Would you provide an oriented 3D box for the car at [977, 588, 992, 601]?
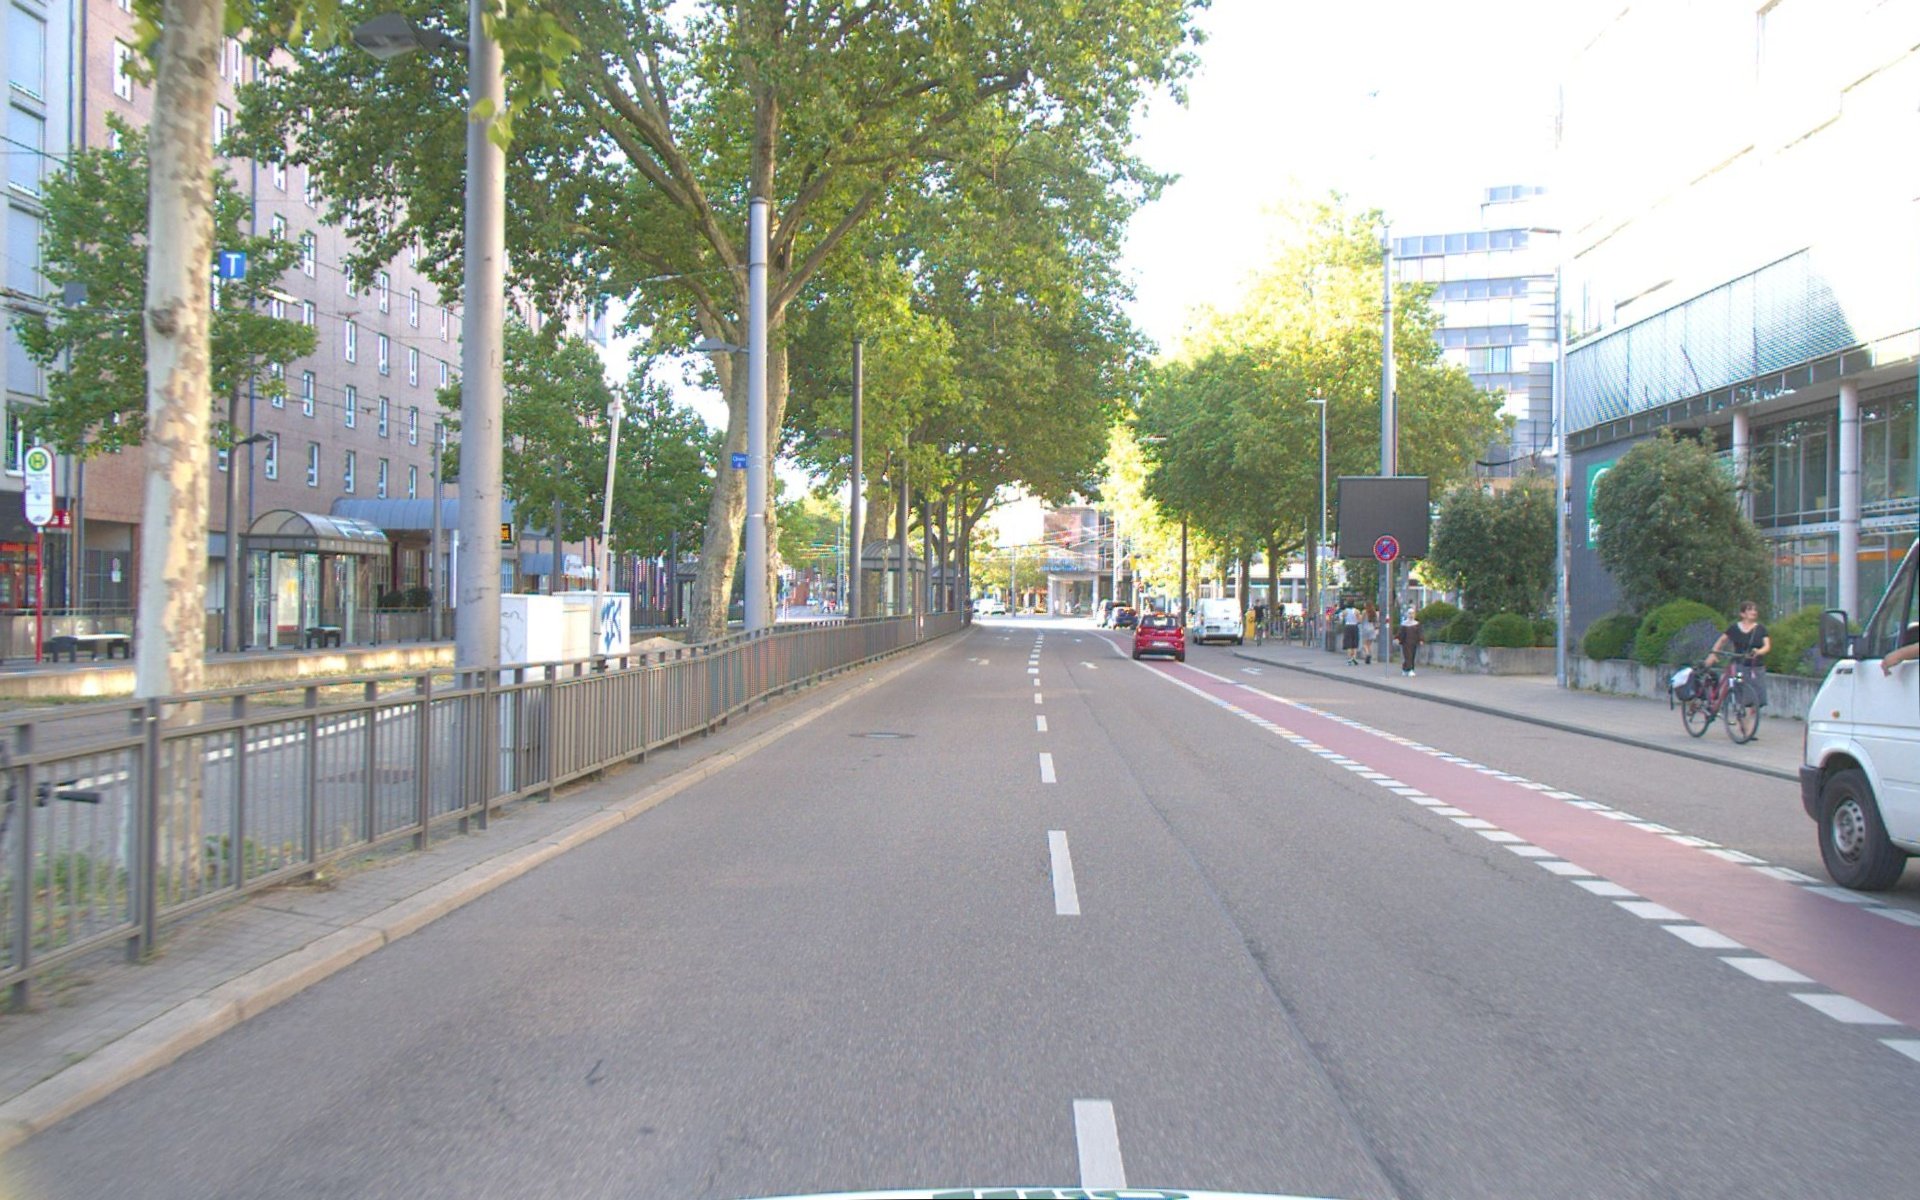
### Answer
[{"bbox_3d":[3.084,-0.687,211.058,1.742,1.616,3.410,1,0,-3],"label":"car"}]

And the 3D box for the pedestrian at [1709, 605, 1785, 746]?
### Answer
[{"bbox_3d":[9.697,0.916,20.405,0.633,1.710,0.651,0,0,1],"label":"pedestrian"}]

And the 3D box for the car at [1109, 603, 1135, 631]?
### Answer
[{"bbox_3d":[10.814,1.138,110.504,1.601,1.831,3.331,0,0,4],"label":"car"}]

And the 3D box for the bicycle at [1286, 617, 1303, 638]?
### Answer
[{"bbox_3d":[15.833,1.295,78.284,0.458,0.999,1.768,-1,0,2],"label":"bicycle"}]

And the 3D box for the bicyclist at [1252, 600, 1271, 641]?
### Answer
[{"bbox_3d":[12.632,0.858,69.336,0.636,1.731,0.952,1,-1,1],"label":"bicyclist"}]

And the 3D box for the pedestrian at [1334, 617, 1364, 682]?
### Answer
[{"bbox_3d":[10.809,1.368,45.978,0.552,1.732,0.907,-3,0,0],"label":"pedestrian"}]

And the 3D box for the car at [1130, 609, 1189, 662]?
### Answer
[{"bbox_3d":[6.304,1.095,52.468,1.579,1.561,3.413,1,0,2],"label":"car"}]

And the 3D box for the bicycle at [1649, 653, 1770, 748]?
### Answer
[{"bbox_3d":[9.248,1.217,20.487,0.510,0.992,2.202,-3,0,2],"label":"bicycle"}]

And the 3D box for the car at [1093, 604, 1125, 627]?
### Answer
[{"bbox_3d":[10.472,1.090,116.419,1.742,1.561,3.510,1,0,-3],"label":"car"}]

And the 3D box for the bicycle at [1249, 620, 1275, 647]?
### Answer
[{"bbox_3d":[12.621,1.375,69.229,0.669,1.086,2.470,-1,0,2],"label":"bicycle"}]

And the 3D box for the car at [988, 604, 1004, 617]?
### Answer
[{"bbox_3d":[4.296,1.232,198.390,1.742,1.561,3.410,1,0,-3],"label":"car"}]

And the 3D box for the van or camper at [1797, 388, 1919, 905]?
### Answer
[{"bbox_3d":[6.075,0.265,6.993,1.928,2.763,6.305,1,0,1],"label":"van or camper"}]

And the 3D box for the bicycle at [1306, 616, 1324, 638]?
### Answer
[{"bbox_3d":[16.786,1.272,78.265,0.493,0.999,1.768,-1,0,2],"label":"bicycle"}]

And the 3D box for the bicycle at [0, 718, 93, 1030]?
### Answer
[{"bbox_3d":[-3.348,0.928,5.186,0.387,0.965,1.352,0,2,7],"label":"bicycle"}]

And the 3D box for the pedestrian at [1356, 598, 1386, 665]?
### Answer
[{"bbox_3d":[11.429,0.870,45.995,0.529,1.827,0.907,-3,0,0],"label":"pedestrian"}]

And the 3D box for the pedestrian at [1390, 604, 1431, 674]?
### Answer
[{"bbox_3d":[10.618,0.917,39.026,0.629,1.607,0.722,-3,0,-6],"label":"pedestrian"}]

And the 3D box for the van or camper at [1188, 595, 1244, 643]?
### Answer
[{"bbox_3d":[11.246,0.831,72.978,1.952,2.024,4.746,1,0,3],"label":"van or camper"}]

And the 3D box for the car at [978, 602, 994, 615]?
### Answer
[{"bbox_3d":[3.259,0.997,205.026,1.742,1.561,3.410,1,0,-3],"label":"car"}]

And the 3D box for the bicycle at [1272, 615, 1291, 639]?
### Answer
[{"bbox_3d":[15.205,1.285,78.288,0.573,1.086,1.900,-1,0,2],"label":"bicycle"}]
